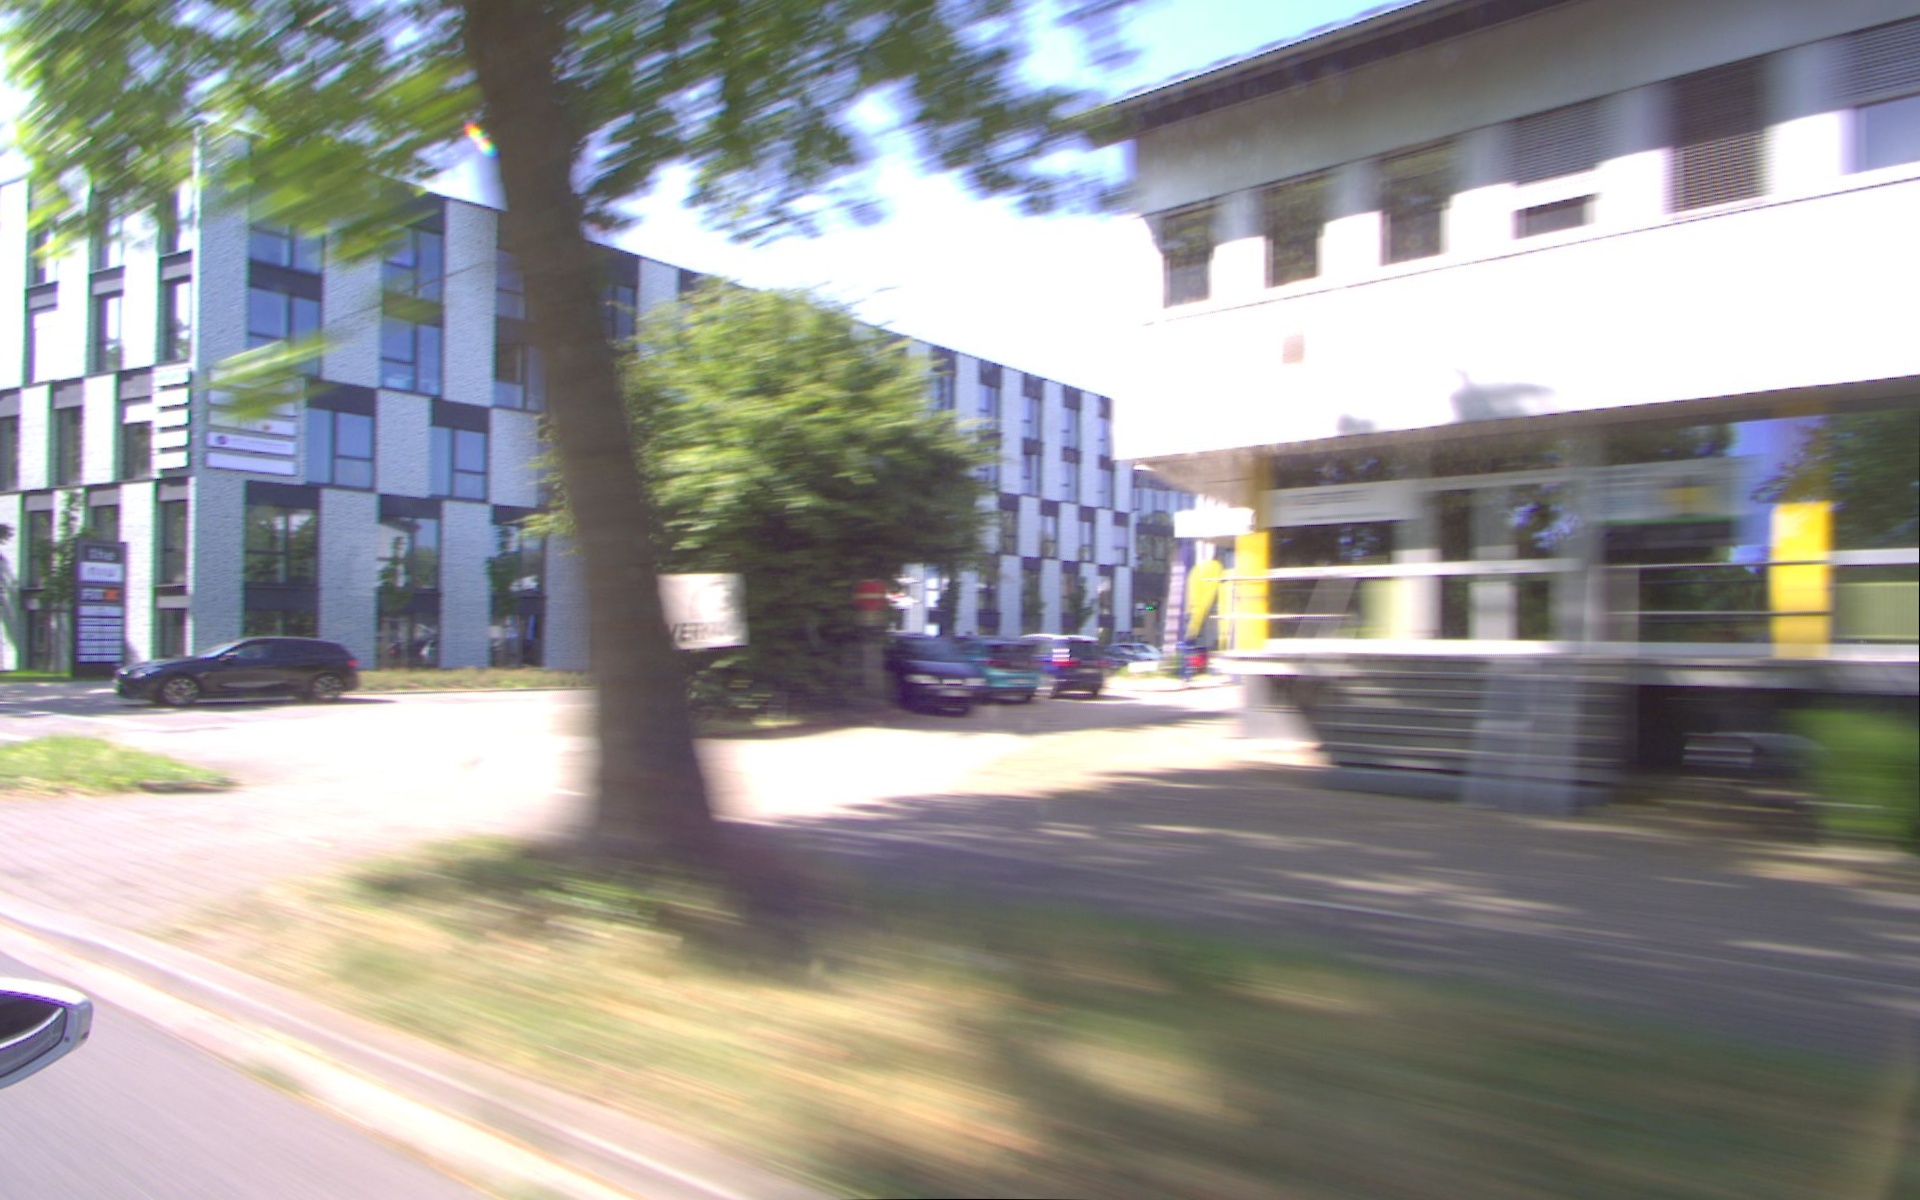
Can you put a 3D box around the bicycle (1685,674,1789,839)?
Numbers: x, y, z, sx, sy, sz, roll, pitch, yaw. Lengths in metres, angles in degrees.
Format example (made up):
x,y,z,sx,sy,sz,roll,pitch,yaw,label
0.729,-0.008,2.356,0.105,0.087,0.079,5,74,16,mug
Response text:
x,y,z,sx,sy,sz,roll,pitch,yaw,label
6.438,1.229,8.266,0.503,1.145,1.661,-1,-1,44,bicycle

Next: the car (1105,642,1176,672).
x,y,z,sx,sy,sz,roll,pitch,yaw,label
9.883,3.100,54.982,3.492,1.454,1.634,1,0,43,car

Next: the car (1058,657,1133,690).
x,y,z,sx,sy,sz,roll,pitch,yaw,label
6.901,3.725,51.117,3.492,1.396,1.634,1,0,43,car

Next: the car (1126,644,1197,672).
x,y,z,sx,sy,sz,roll,pitch,yaw,label
11.537,3.308,57.515,3.668,1.505,1.692,-1,-2,44,car

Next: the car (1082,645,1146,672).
x,y,z,sx,sy,sz,roll,pitch,yaw,label
8.167,3.091,53.272,3.095,1.357,1.464,-1,-2,44,car

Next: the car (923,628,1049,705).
x,y,z,sx,sy,sz,roll,pitch,yaw,label
0.553,1.565,24.457,1.654,1.683,3.738,-1,-1,-23,car

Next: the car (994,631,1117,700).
x,y,z,sx,sy,sz,roll,pitch,yaw,label
2.443,1.680,26.465,1.654,1.683,3.738,1,-2,-23,car

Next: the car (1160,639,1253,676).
x,y,z,sx,sy,sz,roll,pitch,yaw,label
11.034,2.561,44.702,4.218,1.536,1.983,3,-3,-41,car

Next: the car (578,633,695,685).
x,y,z,sx,sy,sz,roll,pitch,yaw,label
-11.248,2.010,34.705,4.433,1.572,1.983,0,-2,44,car

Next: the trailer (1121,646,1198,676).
x,y,z,sx,sy,sz,roll,pitch,yaw,label
8.517,2.594,42.632,3.194,1.194,1.584,3,-3,-41,trailer

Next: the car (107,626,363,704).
x,y,z,sx,sy,sz,roll,pitch,yaw,label
-15.774,1.400,21.956,1.978,1.536,4.228,-1,-3,42,car
